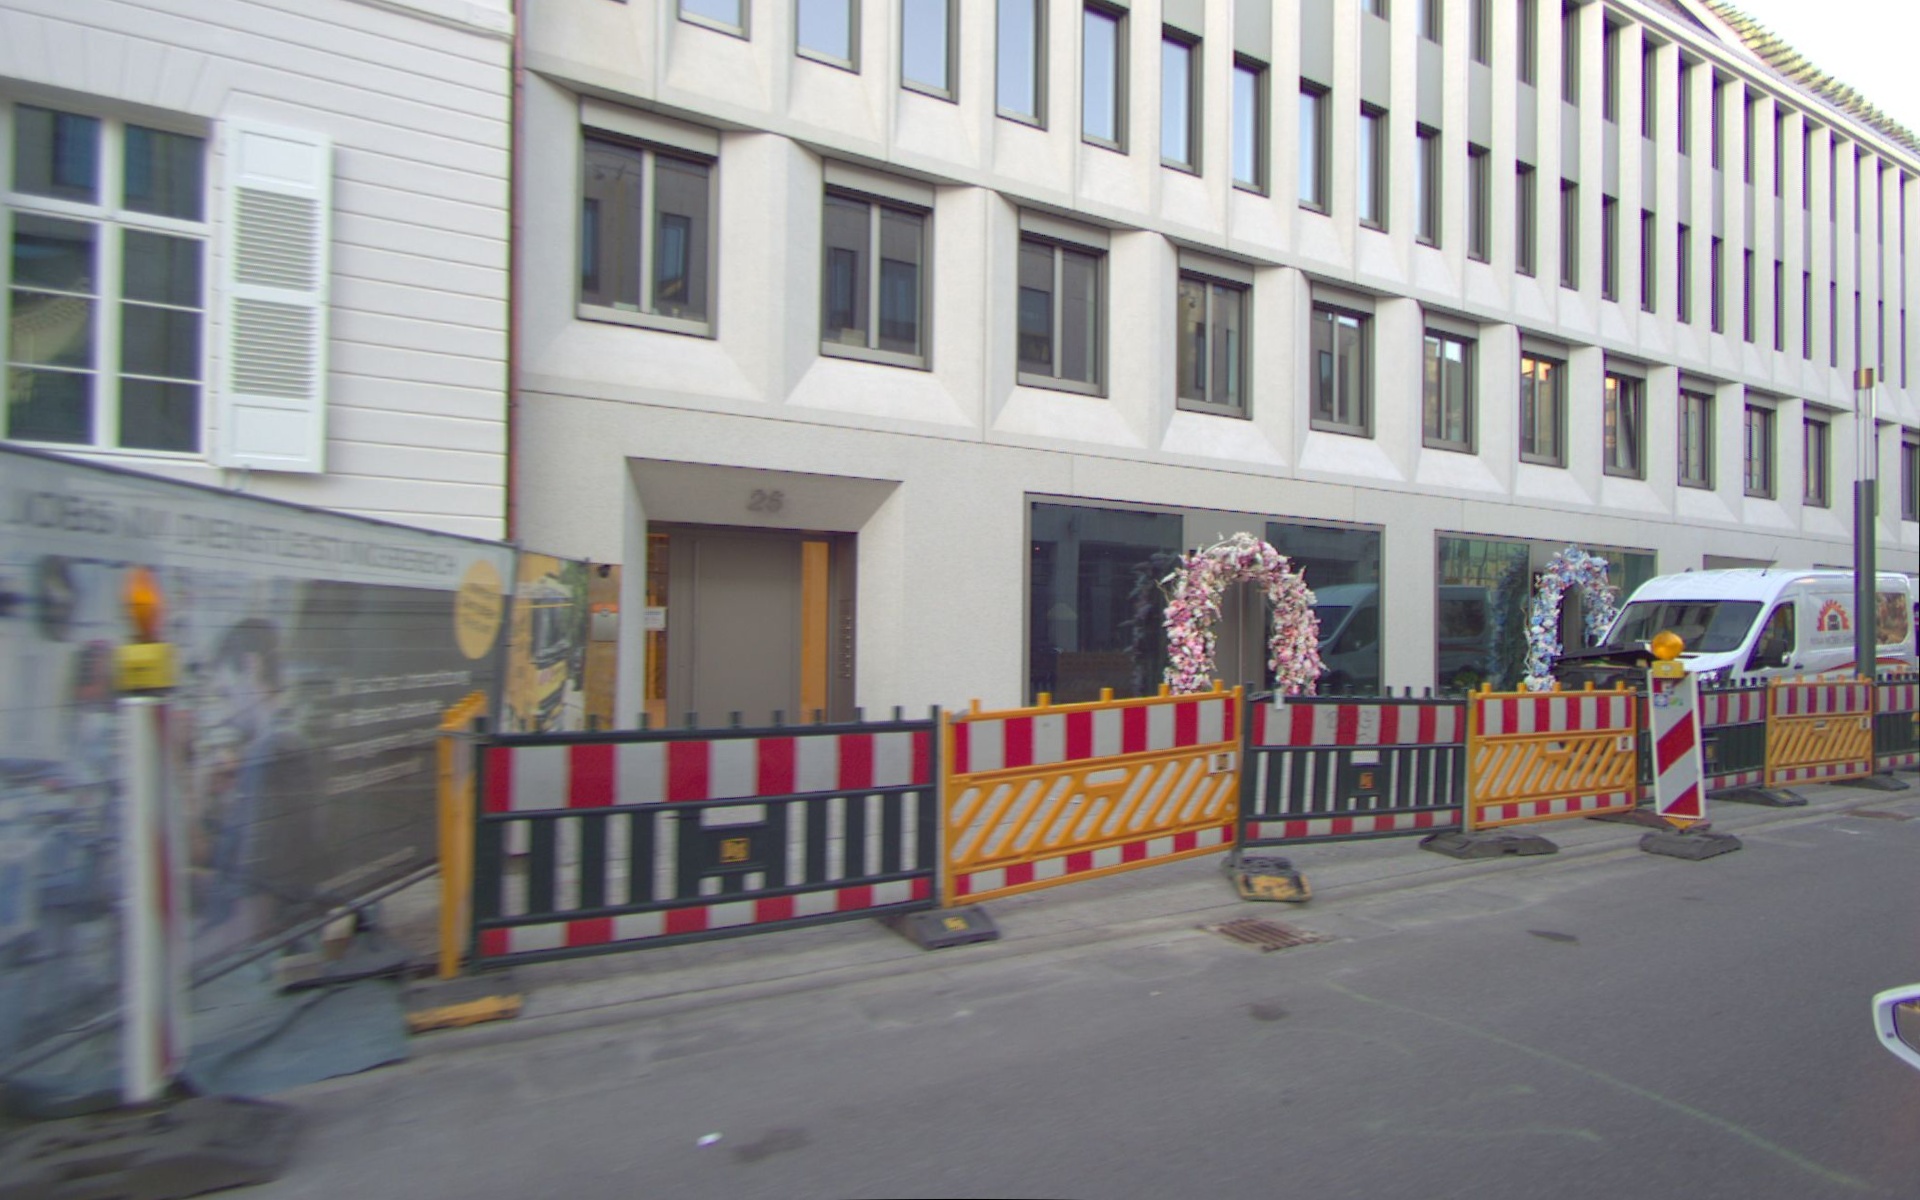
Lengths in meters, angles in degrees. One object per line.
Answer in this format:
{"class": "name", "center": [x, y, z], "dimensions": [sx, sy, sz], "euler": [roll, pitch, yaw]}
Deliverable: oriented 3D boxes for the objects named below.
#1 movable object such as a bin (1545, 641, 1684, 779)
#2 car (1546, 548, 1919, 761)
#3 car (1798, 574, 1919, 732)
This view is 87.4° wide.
{"class": "movable object such as a bin", "center": [7.734, 1.239, 11.857], "dimensions": [1.383, 1.485, 1.034], "euler": [2, -1, -41]}
{"class": "car", "center": [11.102, 0.728, 14.201], "dimensions": [5.926, 2.503, 2.164], "euler": [2, -1, -29]}
{"class": "car", "center": [17.524, 0.916, 17.798], "dimensions": [5.926, 2.503, 2.164], "euler": [2, -1, -29]}
